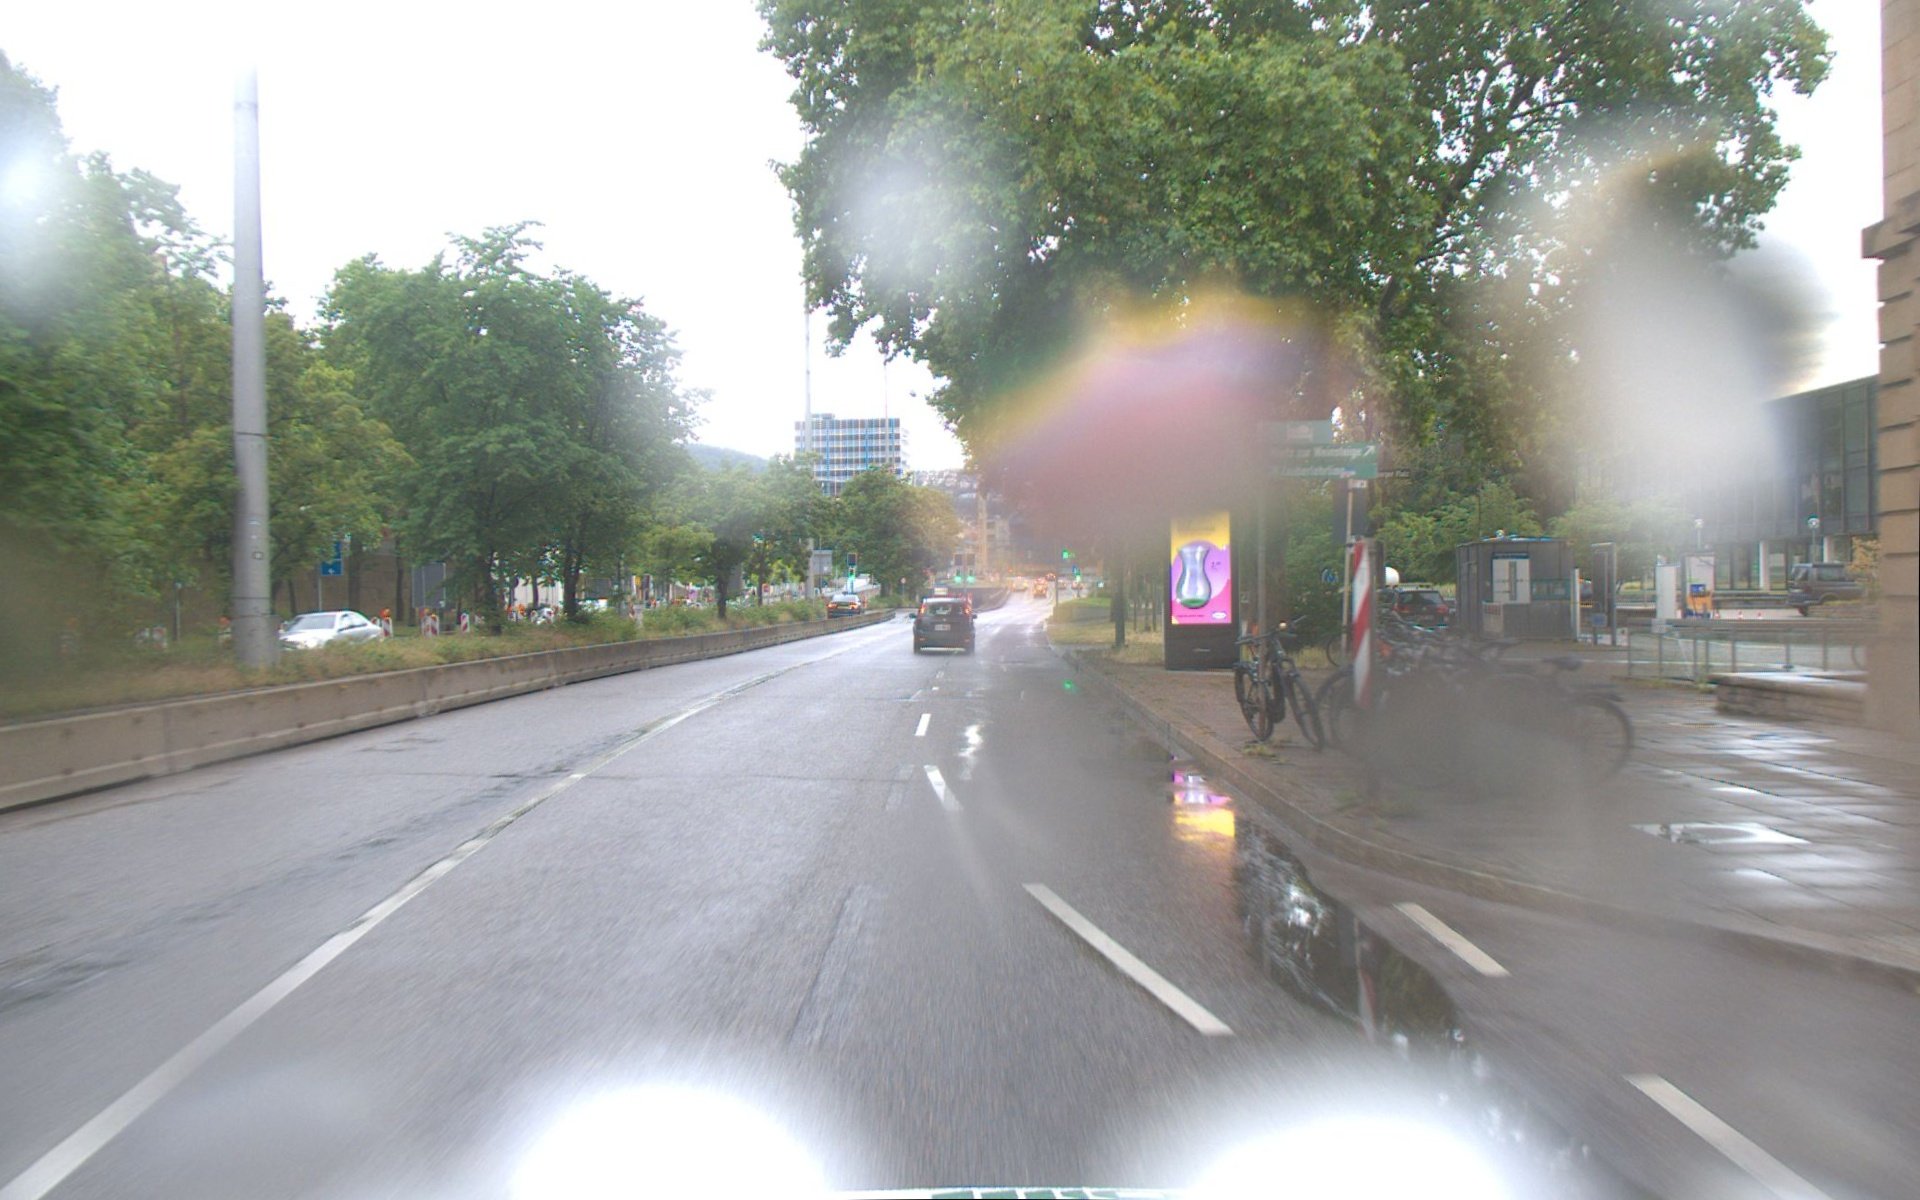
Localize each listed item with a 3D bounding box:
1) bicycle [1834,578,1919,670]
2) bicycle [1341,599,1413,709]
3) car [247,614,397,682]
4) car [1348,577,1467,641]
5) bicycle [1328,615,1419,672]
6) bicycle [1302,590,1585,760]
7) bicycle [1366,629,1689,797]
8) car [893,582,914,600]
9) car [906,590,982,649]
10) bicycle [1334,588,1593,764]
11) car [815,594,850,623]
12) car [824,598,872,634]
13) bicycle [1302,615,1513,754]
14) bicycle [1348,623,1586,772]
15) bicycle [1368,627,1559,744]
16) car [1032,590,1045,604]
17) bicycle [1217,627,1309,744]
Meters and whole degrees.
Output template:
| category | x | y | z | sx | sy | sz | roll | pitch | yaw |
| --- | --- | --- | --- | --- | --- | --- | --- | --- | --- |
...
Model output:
| category | x | y | z | sx | sy | sz | roll | pitch | yaw |
| --- | --- | --- | --- | --- | --- | --- | --- | --- | --- |
| bicycle | 17.815 | 0.449 | 31.183 | 2.270 | 1.696 | 0.774 | 0 | -2 | -5 |
| bicycle | 4.912 | 0.619 | 19.586 | 0.592 | 1.218 | 1.906 | -3 | -1 | 8 |
| car | -17.244 | 1.271 | 44.984 | 1.952 | 1.653 | 4.810 | -3 | -1 | 3 |
| car | 12.458 | 0.213 | 46.401 | 1.952 | 1.637 | 5.237 | 0 | 1 | 0 |
| bicycle | 7.843 | 0.818 | 31.406 | 1.606 | 1.038 | 0.575 | 1 | -1 | 6 |
| bicycle | 3.959 | 0.609 | 13.649 | 2.145 | 1.360 | 0.651 | 0 | -1 | 3 |
| bicycle | 3.847 | 0.749 | 11.308 | 1.945 | 1.079 | 0.759 | 0 | -1 | -2 |
| car | -5.292 | -0.847 | 156.129 | 1.953 | 1.661 | 3.998 | -1 | 0 | -2 |
| car | -0.463 | 0.533 | 44.533 | 1.807 | 1.441 | 3.836 | -2 | -1 | -4 |
| bicycle | 3.987 | 0.593 | 13.195 | 1.866 | 1.356 | 0.651 | 0 | -1 | 3 |
| car | -7.229 | 0.467 | 94.016 | 1.719 | 1.477 | 3.998 | 4 | 0 | -3 |
| car | -5.892 | 0.828 | 87.263 | 1.952 | 1.812 | 4.002 | -1 | 0 | 4 |
| bicycle | 3.794 | 0.707 | 14.111 | 1.644 | 1.142 | 0.602 | 0 | 0 | 3 |
| bicycle | 3.900 | 0.741 | 12.799 | 1.644 | 1.109 | 0.651 | 0 | -1 | 3 |
| bicycle | 4.500 | 0.759 | 14.835 | 1.556 | 1.012 | 0.525 | 0 | 0 | 3 |
| car | 11.070 | -0.367 | 233.044 | 1.702 | 1.802 | 4.002 | -3 | -1 | 4 |
| bicycle | 2.786 | 0.751 | 15.098 | 0.655 | 0.984 | 1.638 | -1 | 0 | 16 |
